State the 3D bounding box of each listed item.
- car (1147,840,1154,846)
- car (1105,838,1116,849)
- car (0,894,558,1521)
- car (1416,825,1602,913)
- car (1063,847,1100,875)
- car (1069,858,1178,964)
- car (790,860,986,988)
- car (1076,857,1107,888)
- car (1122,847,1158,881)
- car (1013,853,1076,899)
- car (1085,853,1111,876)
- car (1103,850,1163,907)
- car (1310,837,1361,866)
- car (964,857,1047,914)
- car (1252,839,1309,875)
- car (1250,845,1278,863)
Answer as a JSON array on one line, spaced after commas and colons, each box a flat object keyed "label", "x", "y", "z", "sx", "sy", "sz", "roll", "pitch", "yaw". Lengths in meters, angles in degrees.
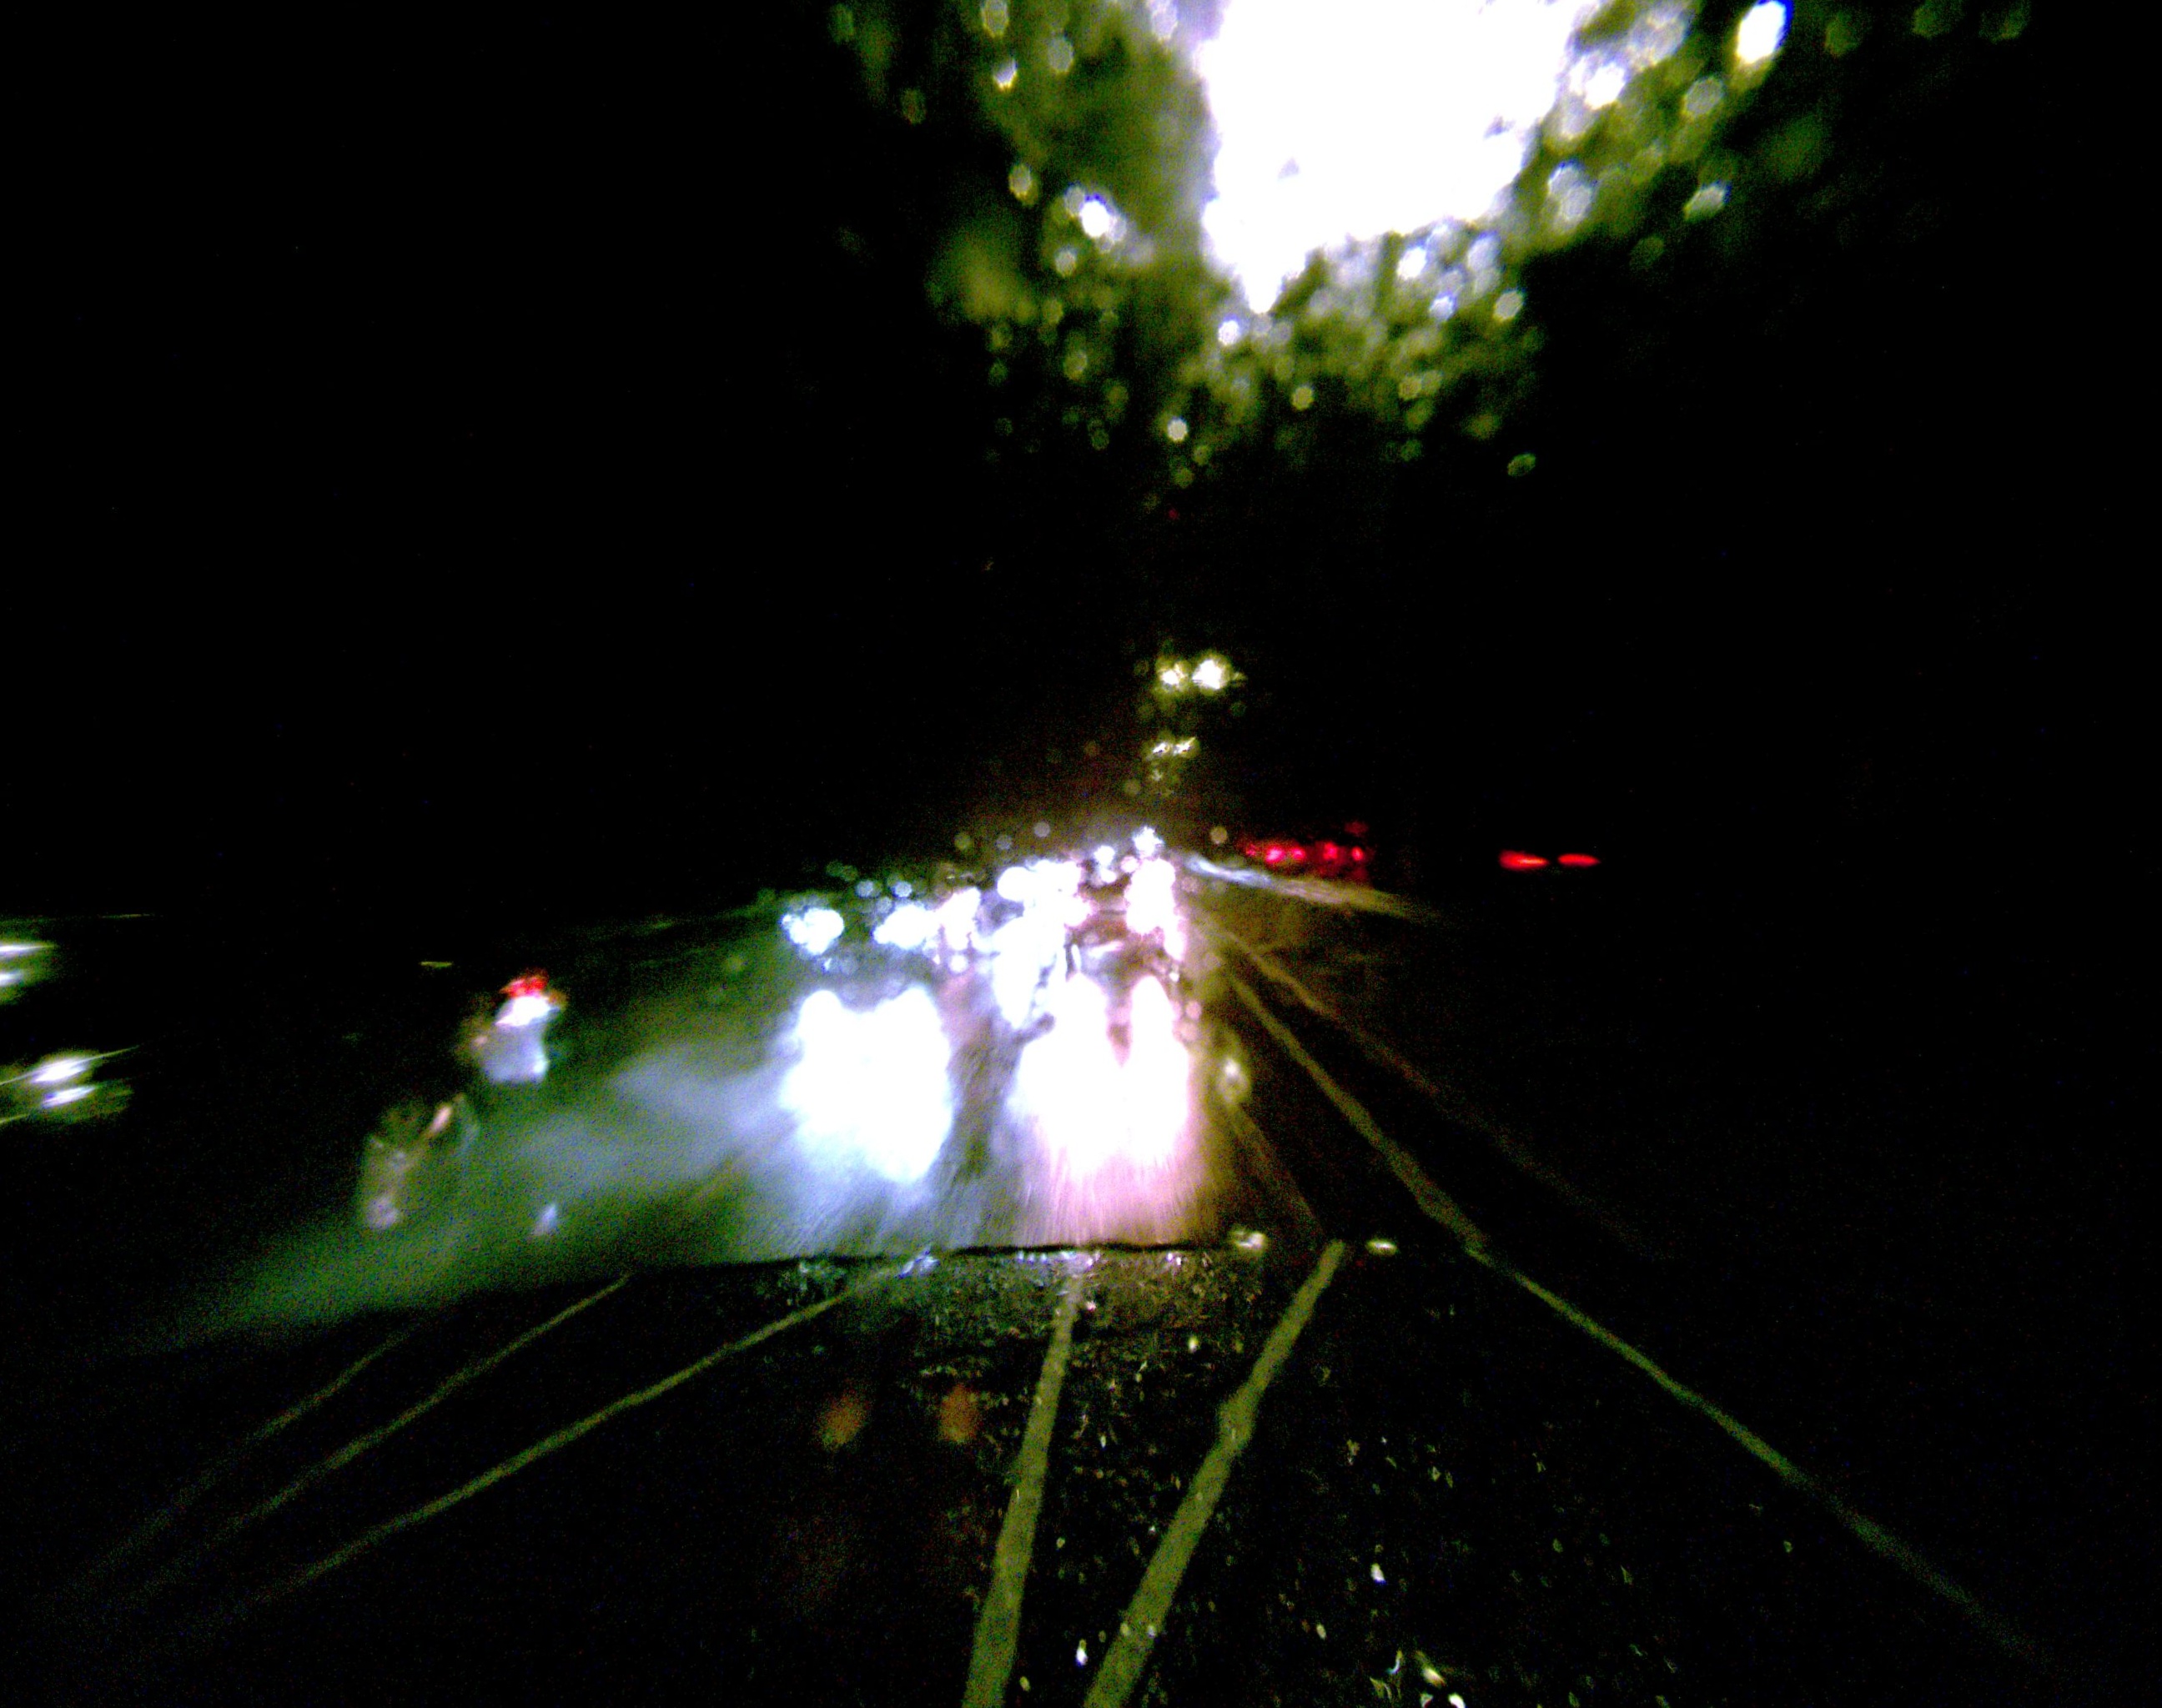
[{"label": "car", "x": 20.078, "y": -3.209, "z": 219.459, "sx": 1.998, "sy": 1.669, "sz": 4.001, "roll": -3, "pitch": 1, "yaw": 6}, {"label": "car", "x": 5.710, "y": -2.108, "z": 146.326, "sx": 1.998, "sy": 2.002, "sz": 4.000, "roll": -2, "pitch": 1, "yaw": 3}, {"label": "car", "x": -3.738, "y": 1.071, "z": 1.692, "sx": 1.676, "sy": 1.498, "sz": 4.559, "roll": -4, "pitch": 1, "yaw": 3}, {"label": "car", "x": 9.246, "y": 0.284, "z": 16.877, "sx": 1.770, "sy": 1.621, "sz": 4.250, "roll": -3, "pitch": 0, "yaw": 2}, {"label": "car", "x": 0.067, "y": 0.392, "z": 47.124, "sx": 1.998, "sy": 1.589, "sz": 4.392, "roll": -2, "pitch": 1, "yaw": 3}, {"label": "car", "x": 0.730, "y": 0.828, "z": 12.562, "sx": 1.496, "sy": 1.416, "sz": 3.390, "roll": -3, "pitch": 0, "yaw": 4}, {"label": "car", "x": -2.863, "y": 0.960, "z": 12.373, "sx": 1.710, "sy": 1.513, "sz": 4.414, "roll": -3, "pitch": 1, "yaw": 4}, {"label": "car", "x": 0.812, "y": 1.282, "z": 55.225, "sx": 1.998, "sy": 2.002, "sz": 4.000, "roll": -3, "pitch": 1, "yaw": 3}, {"label": "car", "x": 3.829, "y": 0.597, "z": 49.867, "sx": 1.998, "sy": 2.002, "sz": 3.999, "roll": -3, "pitch": 1, "yaw": 1}, {"label": "car", "x": -1.365, "y": 0.811, "z": 30.305, "sx": 1.998, "sy": 1.589, "sz": 4.392, "roll": -2, "pitch": 1, "yaw": 3}, {"label": "car", "x": 1.491, "y": 0.867, "z": 64.763, "sx": 1.998, "sy": 1.789, "sz": 4.000, "roll": -2, "pitch": 1, "yaw": 3}, {"label": "car", "x": 1.588, "y": 0.699, "z": 23.387, "sx": 1.605, "sy": 1.417, "sz": 3.389, "roll": -5, "pitch": 1, "yaw": 3}, {"label": "car", "x": 13.640, "y": -0.131, "z": 40.976, "sx": 1.715, "sy": 1.415, "sz": 4.669, "roll": -2, "pitch": 0, "yaw": 8}, {"label": "car", "x": -2.200, "y": 0.879, "z": 23.265, "sx": 1.742, "sy": 1.409, "sz": 4.140, "roll": -3, "pitch": 1, "yaw": 4}, {"label": "car", "x": 9.802, "y": 0.100, "z": 37.569, "sx": 1.874, "sy": 1.598, "sz": 4.248, "roll": -2, "pitch": 1, "yaw": 3}, {"label": "car", "x": 16.655, "y": -0.050, "z": 69.295, "sx": 1.997, "sy": 1.499, "sz": 4.842, "roll": -2, "pitch": 0, "yaw": 8}]
